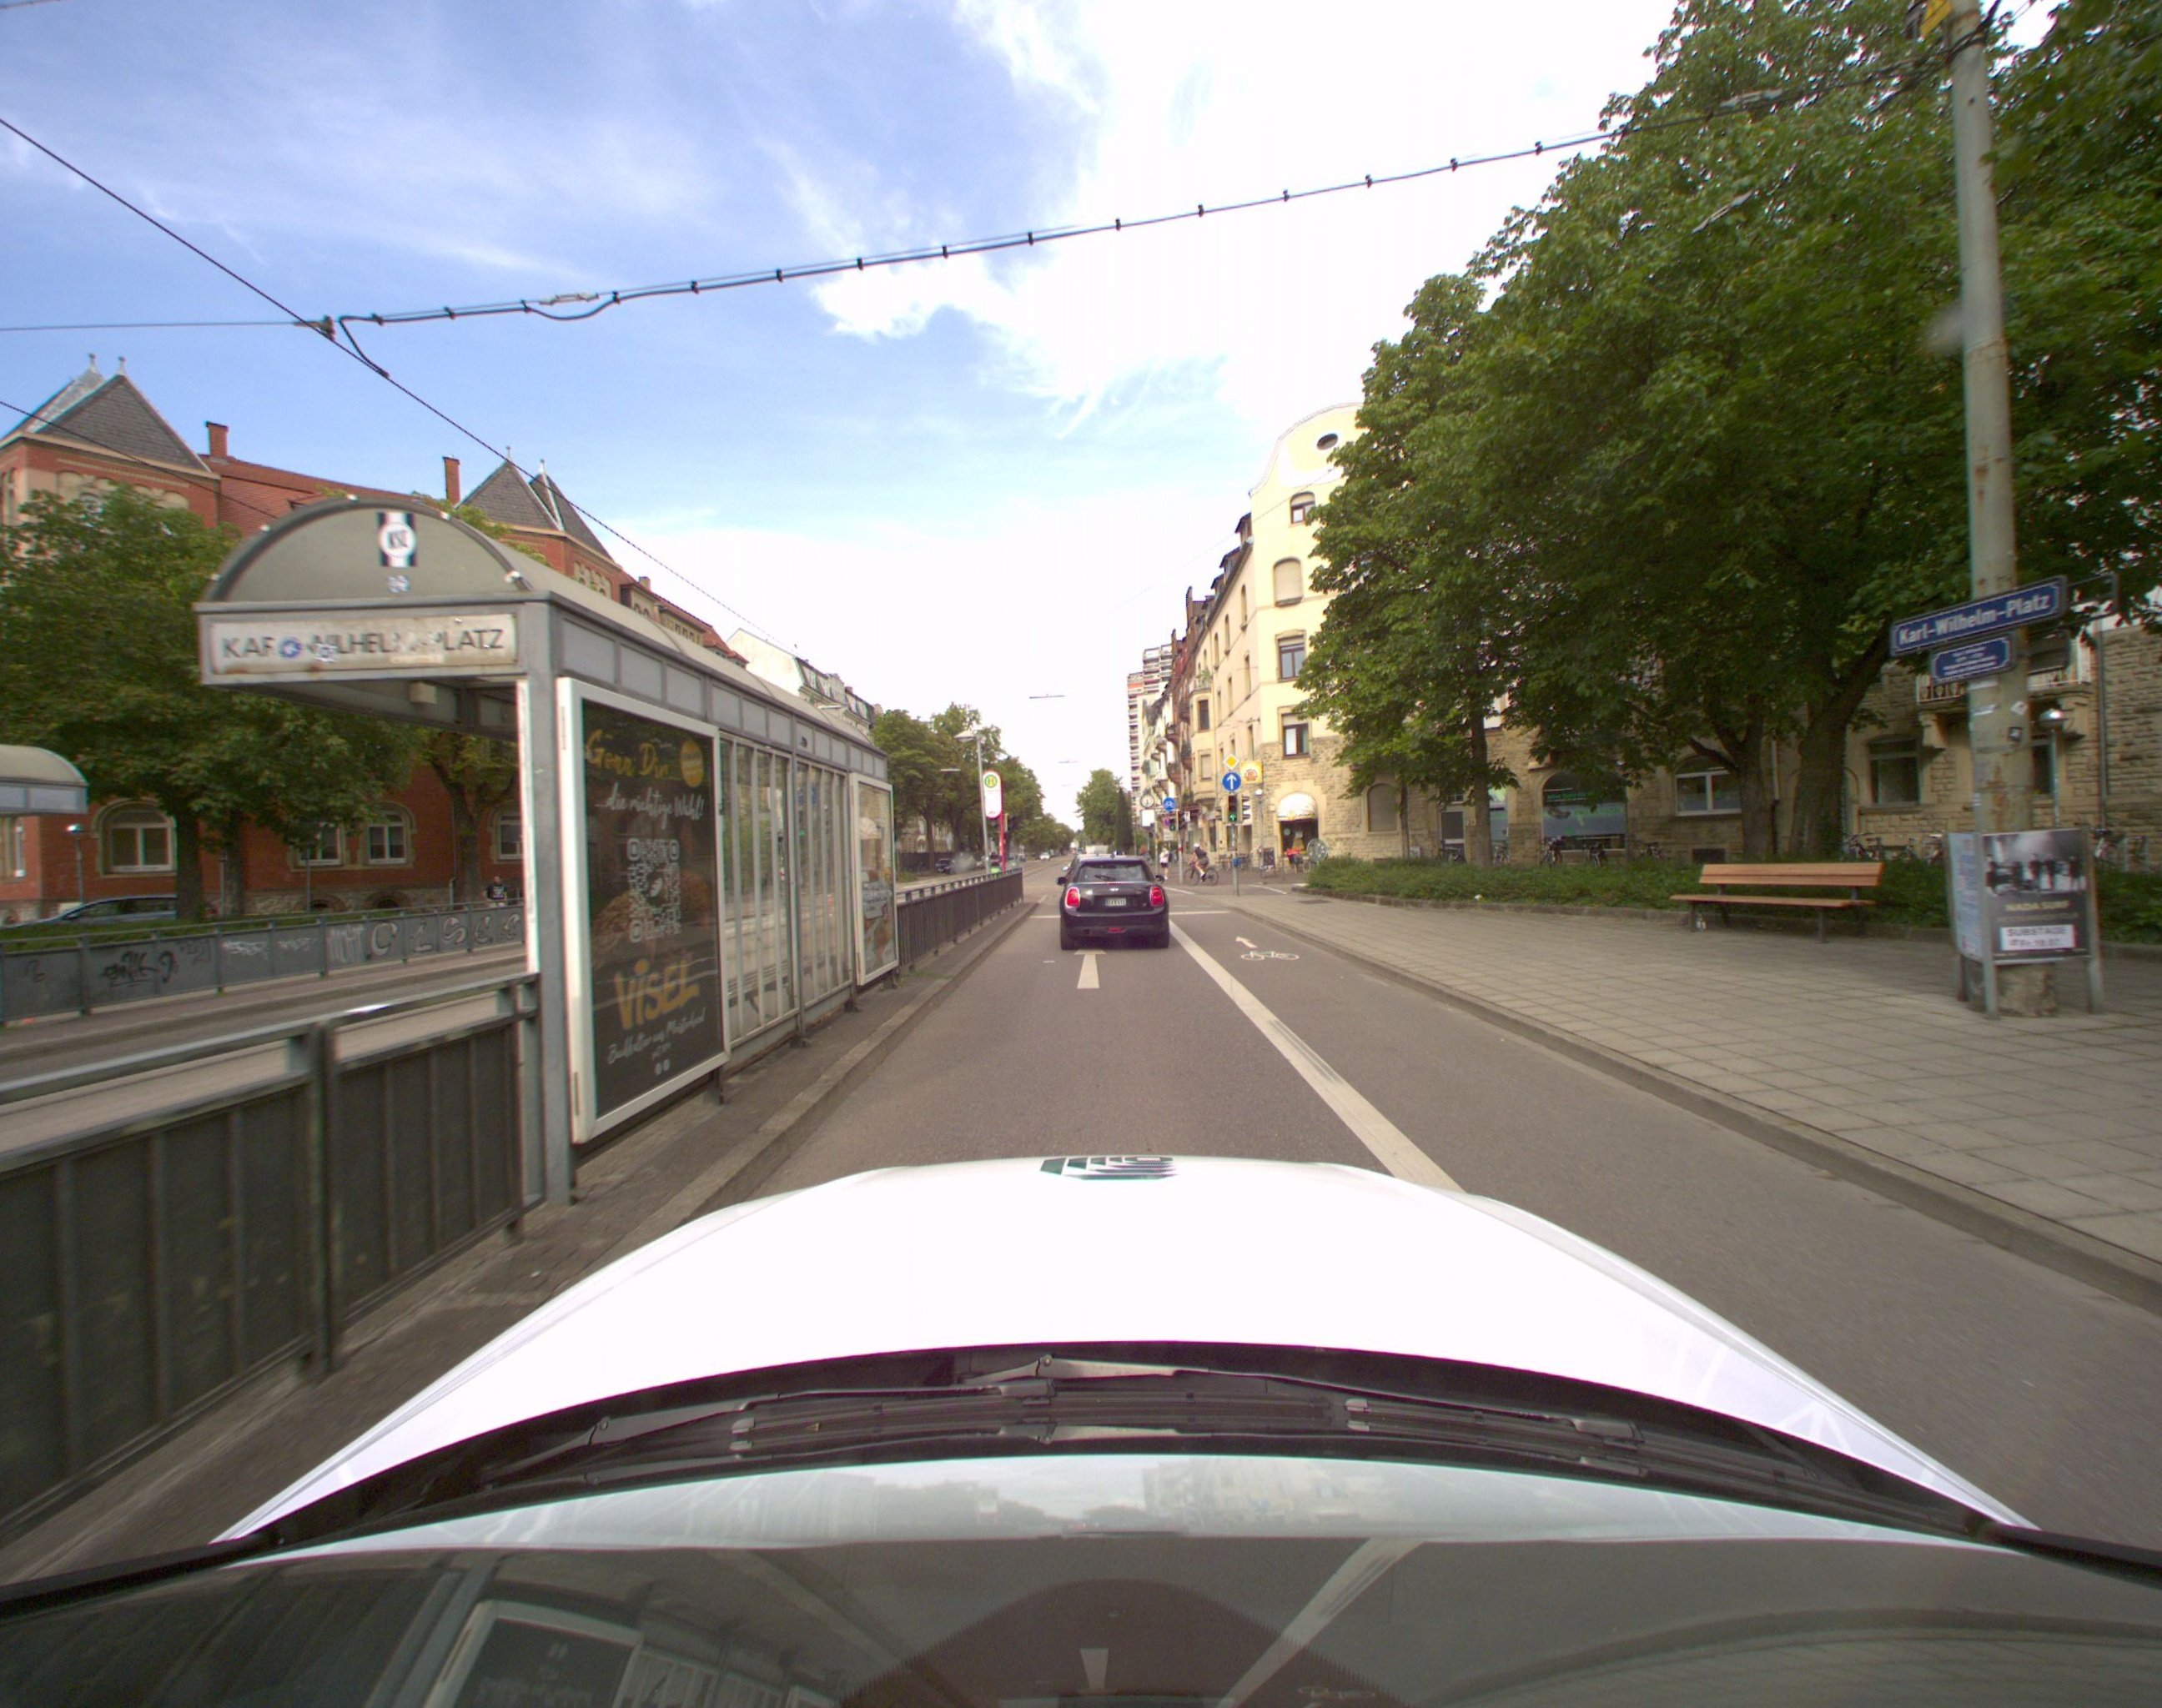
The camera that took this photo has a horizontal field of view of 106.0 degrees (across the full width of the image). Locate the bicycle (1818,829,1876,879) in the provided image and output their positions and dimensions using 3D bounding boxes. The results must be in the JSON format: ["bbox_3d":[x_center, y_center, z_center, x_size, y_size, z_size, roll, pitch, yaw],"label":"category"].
[{"bbox_3d":[19.473,-0.011,20.691,1.900,1.127,0.527,-4,1,-30],"label":"bicycle"}]

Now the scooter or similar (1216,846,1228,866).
[{"bbox_3d":[8.372,0.102,48.398,0.507,1.188,1.262,-3,0,1],"label":"scooter or similar"}]

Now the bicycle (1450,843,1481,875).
[{"bbox_3d":[13.358,0.165,28.271,0.444,1.055,1.659,-3,0,43],"label":"bicycle"}]

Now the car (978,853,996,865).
[{"bbox_3d":[-12.268,0.645,106.075,1.761,1.395,4.000,-3,0,0],"label":"car"}]

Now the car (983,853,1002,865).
[{"bbox_3d":[-12.450,0.640,114.479,1.986,1.552,4.001,-3,0,1],"label":"car"}]

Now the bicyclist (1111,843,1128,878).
[{"bbox_3d":[1.751,0.293,37.037,0.681,1.563,0.999,-3,0,3],"label":"bicyclist"}]

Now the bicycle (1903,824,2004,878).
[{"bbox_3d":[20.240,-0.072,18.899,1.886,1.128,0.597,-3,0,-8],"label":"bicycle"}]

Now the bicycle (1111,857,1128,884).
[{"bbox_3d":[1.773,0.740,37.067,0.681,1.170,1.698,-3,0,3],"label":"bicycle"}]

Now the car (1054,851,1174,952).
[{"bbox_3d":[0.546,0.695,13.989,1.745,1.441,4.002,-1,0,2],"label":"car"}]

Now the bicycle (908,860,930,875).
[{"bbox_3d":[-13.589,1.116,68.260,1.680,1.119,0.566,-3,0,-39],"label":"bicycle"}]

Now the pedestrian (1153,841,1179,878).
[{"bbox_3d":[4.120,0.272,39.525,0.840,1.674,0.724,-6,0,-43],"label":"pedestrian"}]

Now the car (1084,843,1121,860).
[{"bbox_3d":[3.209,-0.401,119.882,5.065,2.272,2.369,-3,0,-40],"label":"car"}]

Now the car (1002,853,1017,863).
[{"bbox_3d":[-12.011,0.599,137.451,1.986,1.552,4.001,-3,0,1],"label":"car"}]

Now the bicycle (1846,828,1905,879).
[{"bbox_3d":[19.720,-0.017,20.203,1.900,1.127,0.527,-4,1,-30],"label":"bicycle"}]

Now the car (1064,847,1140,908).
[{"bbox_3d":[0.628,0.598,23.310,1.919,1.510,4.003,-3,0,2],"label":"car"}]

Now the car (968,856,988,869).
[{"bbox_3d":[-12.061,0.958,95.423,1.761,1.395,4.000,-3,0,0],"label":"car"}]

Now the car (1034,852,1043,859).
[{"bbox_3d":[-10.448,0.343,200.379,1.986,1.552,4.001,-3,0,1],"label":"car"}]

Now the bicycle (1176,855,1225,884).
[{"bbox_3d":[4.737,0.636,32.366,1.797,1.076,0.620,-3,0,41],"label":"bicycle"}]

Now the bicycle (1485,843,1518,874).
[{"bbox_3d":[14.153,0.130,27.421,0.526,0.972,1.659,-3,0,43],"label":"bicycle"}]

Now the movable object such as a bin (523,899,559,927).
[{"bbox_3d":[-17.347,1.900,26.182,0.727,0.799,0.621,-3,0,-4],"label":"movable object such as a bin"}]

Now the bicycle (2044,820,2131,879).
[{"bbox_3d":[21.097,-0.096,17.067,1.895,1.128,0.590,-3,0,-22],"label":"bicycle"}]

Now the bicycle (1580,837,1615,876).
[{"bbox_3d":[15.975,0.063,25.164,0.526,1.128,1.905,-3,0,43],"label":"bicycle"}]

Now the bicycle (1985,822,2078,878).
[{"bbox_3d":[20.813,-0.089,17.829,1.892,1.128,0.579,-3,0,-16],"label":"bicycle"}]

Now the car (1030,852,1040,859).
[{"bbox_3d":[-10.671,0.360,189.911,1.986,1.552,4.001,-3,0,1],"label":"car"}]

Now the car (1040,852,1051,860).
[{"bbox_3d":[-6.730,0.449,155.659,1.761,1.395,4.000,-3,0,0],"label":"car"}]

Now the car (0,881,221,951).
[{"bbox_3d":[-27.316,1.677,22.752,4.373,1.578,2.185,-3,0,-44],"label":"car"}]

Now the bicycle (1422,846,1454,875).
[{"bbox_3d":[12.908,0.235,29.426,0.595,0.972,1.683,-3,0,39],"label":"bicycle"}]

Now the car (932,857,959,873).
[{"bbox_3d":[-12.582,0.990,75.724,1.761,1.395,4.000,-3,0,0],"label":"car"}]

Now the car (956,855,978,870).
[{"bbox_3d":[-12.243,0.904,87.749,1.761,1.395,4.000,-3,0,0],"label":"car"}]

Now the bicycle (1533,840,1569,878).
[{"bbox_3d":[15.059,0.132,26.080,0.526,1.128,1.905,-3,0,43],"label":"bicycle"}]

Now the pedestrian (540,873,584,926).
[{"bbox_3d":[-16.800,1.456,26.374,0.867,1.632,0.744,-3,0,-4],"label":"pedestrian"}]

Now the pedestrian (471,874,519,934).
[{"bbox_3d":[-17.619,1.484,24.503,0.831,1.703,0.731,-3,0,-4],"label":"pedestrian"}]

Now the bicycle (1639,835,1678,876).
[{"bbox_3d":[16.990,0.034,23.932,0.659,1.128,1.905,-3,0,43],"label":"bicycle"}]

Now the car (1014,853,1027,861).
[{"bbox_3d":[-11.336,0.551,153.682,1.986,1.552,4.001,-3,0,1],"label":"car"}]

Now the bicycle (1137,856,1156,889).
[{"bbox_3d":[2.505,0.686,31.324,0.596,1.170,1.697,-3,0,1],"label":"bicycle"}]

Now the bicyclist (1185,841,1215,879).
[{"bbox_3d":[4.728,0.242,32.352,0.903,1.472,0.620,-3,0,41],"label":"bicyclist"}]

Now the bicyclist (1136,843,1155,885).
[{"bbox_3d":[2.488,0.364,31.319,0.592,1.550,1.014,-3,0,1],"label":"bicyclist"}]

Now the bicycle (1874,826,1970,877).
[{"bbox_3d":[20.113,-0.068,19.487,1.886,1.128,0.561,-3,0,-8],"label":"bicycle"}]

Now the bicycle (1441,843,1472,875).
[{"bbox_3d":[13.212,0.178,28.656,0.444,1.055,1.659,-3,0,43],"label":"bicycle"}]
